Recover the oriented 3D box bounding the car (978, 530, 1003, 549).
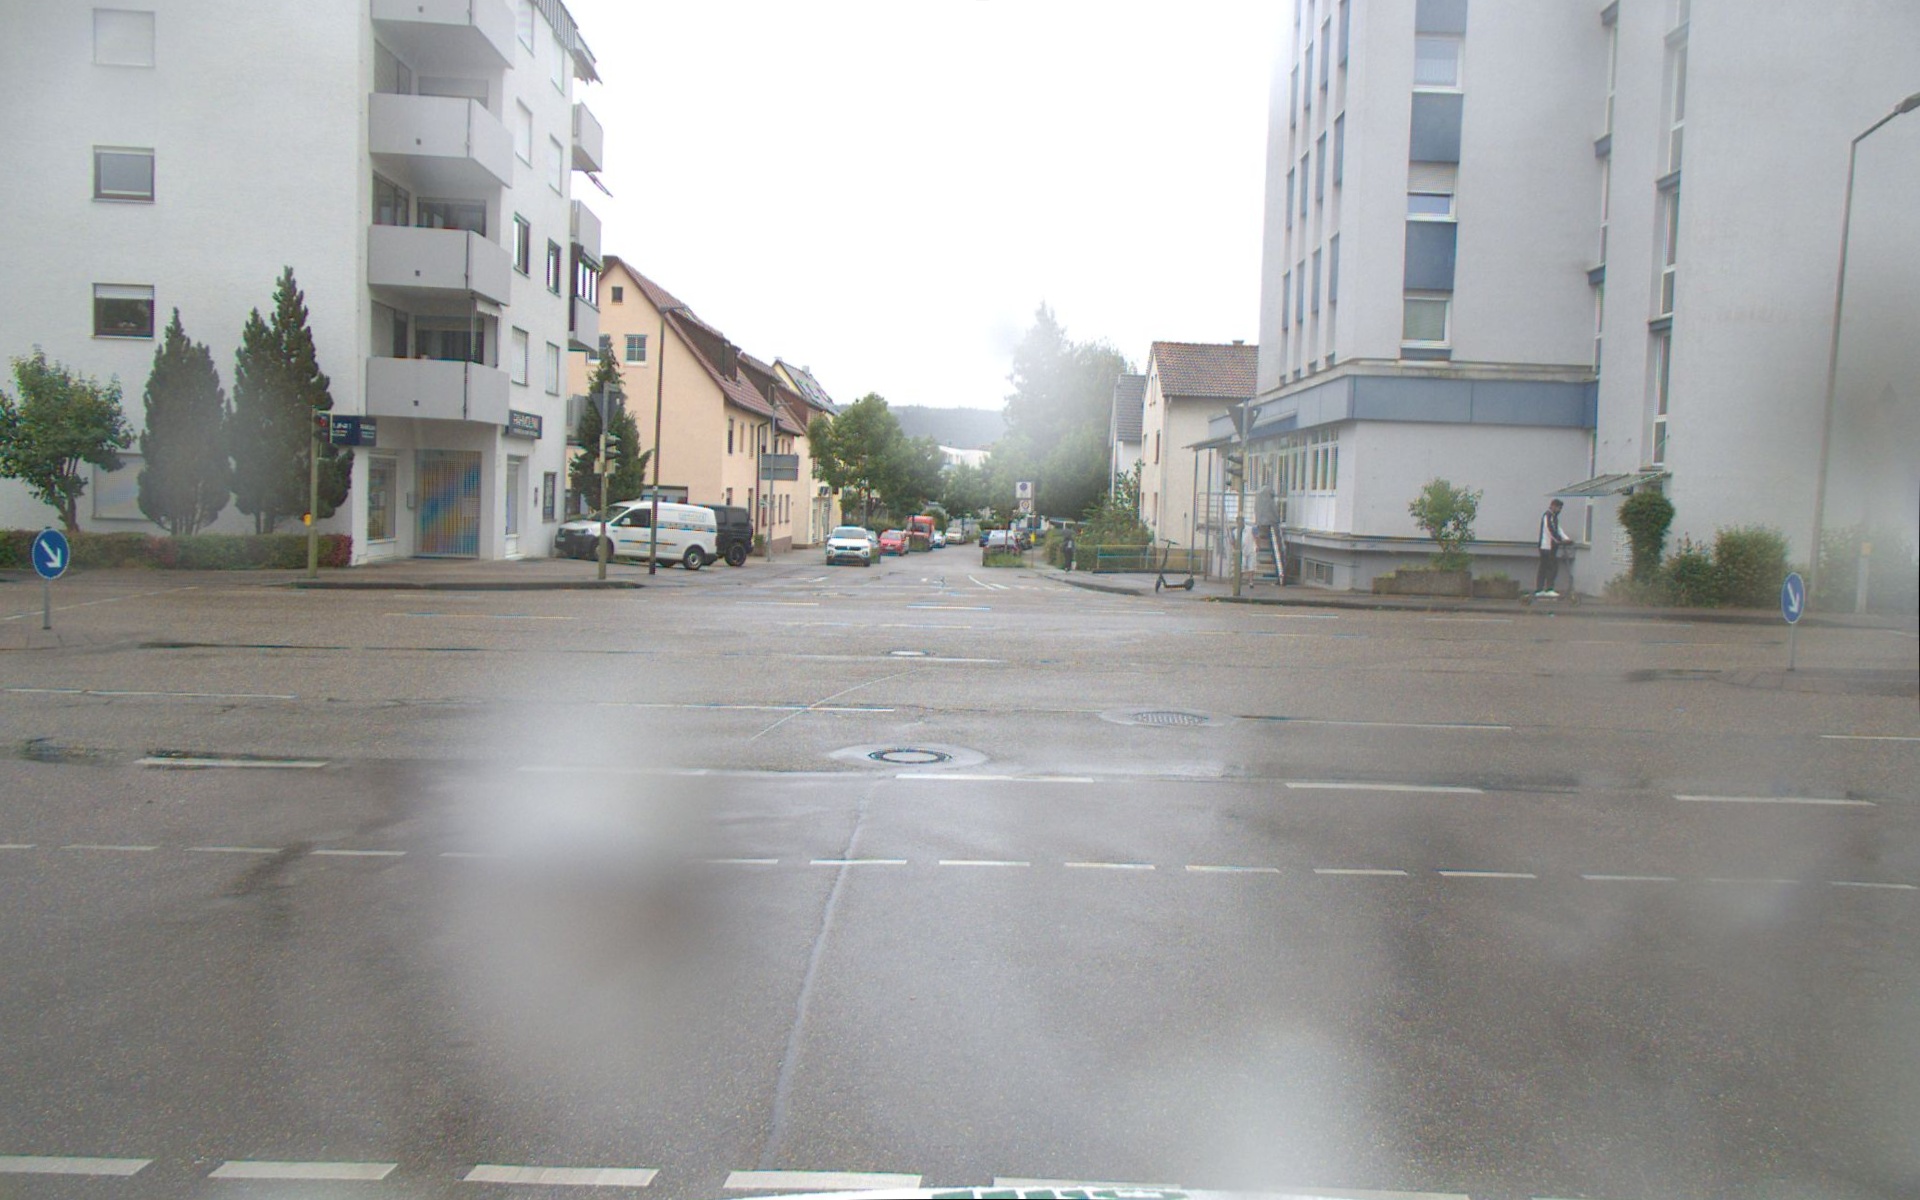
[{"bbox_3d":[2.705,-5.375,147.241,1.951,1.713,4.003,1,2,4],"label":"car"}]

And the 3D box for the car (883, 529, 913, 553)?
[{"bbox_3d":[-4.235,-3.991,112.743,1.862,1.586,4.192,0,2,0],"label":"car"}]

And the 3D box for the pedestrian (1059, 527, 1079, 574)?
[{"bbox_3d":[4.526,-2.052,68.723,0.730,1.880,0.526,4,1,4],"label":"pedestrian"}]

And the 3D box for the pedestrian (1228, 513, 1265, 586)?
[{"bbox_3d":[6.847,-1.206,39.573,0.635,1.675,0.525,4,1,-7],"label":"pedestrian"}]

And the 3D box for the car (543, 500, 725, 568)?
[{"bbox_3d":[-9.306,-1.869,47.424,4.796,1.867,1.972,-1,2,-39],"label":"car"}]

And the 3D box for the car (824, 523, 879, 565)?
[{"bbox_3d":[-4.437,-2.286,67.886,1.953,1.654,4.192,0,2,0],"label":"car"}]

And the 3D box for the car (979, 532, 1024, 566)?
[{"bbox_3d":[2.005,-2.512,81.301,2.102,1.616,4.129,0,2,0],"label":"car"}]

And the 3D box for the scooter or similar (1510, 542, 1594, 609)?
[{"bbox_3d":[10.974,-0.466,30.678,1.288,1.192,0.756,2,2,37],"label":"scooter or similar"}]

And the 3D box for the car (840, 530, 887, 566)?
[{"bbox_3d":[-4.588,-2.500,79.287,1.953,1.654,4.192,0,2,0],"label":"car"}]

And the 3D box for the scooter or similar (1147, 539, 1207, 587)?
[{"bbox_3d":[5.067,-0.858,38.672,1.243,1.100,0.876,0,2,-5],"label":"scooter or similar"}]

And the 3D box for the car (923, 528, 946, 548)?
[{"bbox_3d":[-2.146,-5.171,138.588,1.862,1.586,4.192,0,2,0],"label":"car"}]

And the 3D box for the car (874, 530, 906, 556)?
[{"bbox_3d":[-4.390,-3.588,104.336,1.862,1.586,4.192,0,2,0],"label":"car"}]

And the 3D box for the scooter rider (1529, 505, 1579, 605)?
[{"bbox_3d":[11.003,-0.842,30.630,0.659,1.827,0.751,2,2,36],"label":"scooter rider"}]

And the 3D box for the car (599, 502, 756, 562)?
[{"bbox_3d":[-9.263,-2.216,54.443,4.796,1.867,1.972,-1,2,-39],"label":"car"}]

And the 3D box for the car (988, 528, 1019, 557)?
[{"bbox_3d":[2.694,-3.582,103.621,1.862,1.775,4.192,0,2,0],"label":"car"}]

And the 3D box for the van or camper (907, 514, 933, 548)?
[{"bbox_3d":[-3.079,-5.272,126.645,1.862,2.557,4.239,0,2,0],"label":"van or camper"}]

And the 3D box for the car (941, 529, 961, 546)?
[{"bbox_3d":[-0.806,-5.855,154.597,1.862,1.586,4.192,0,2,0],"label":"car"}]
